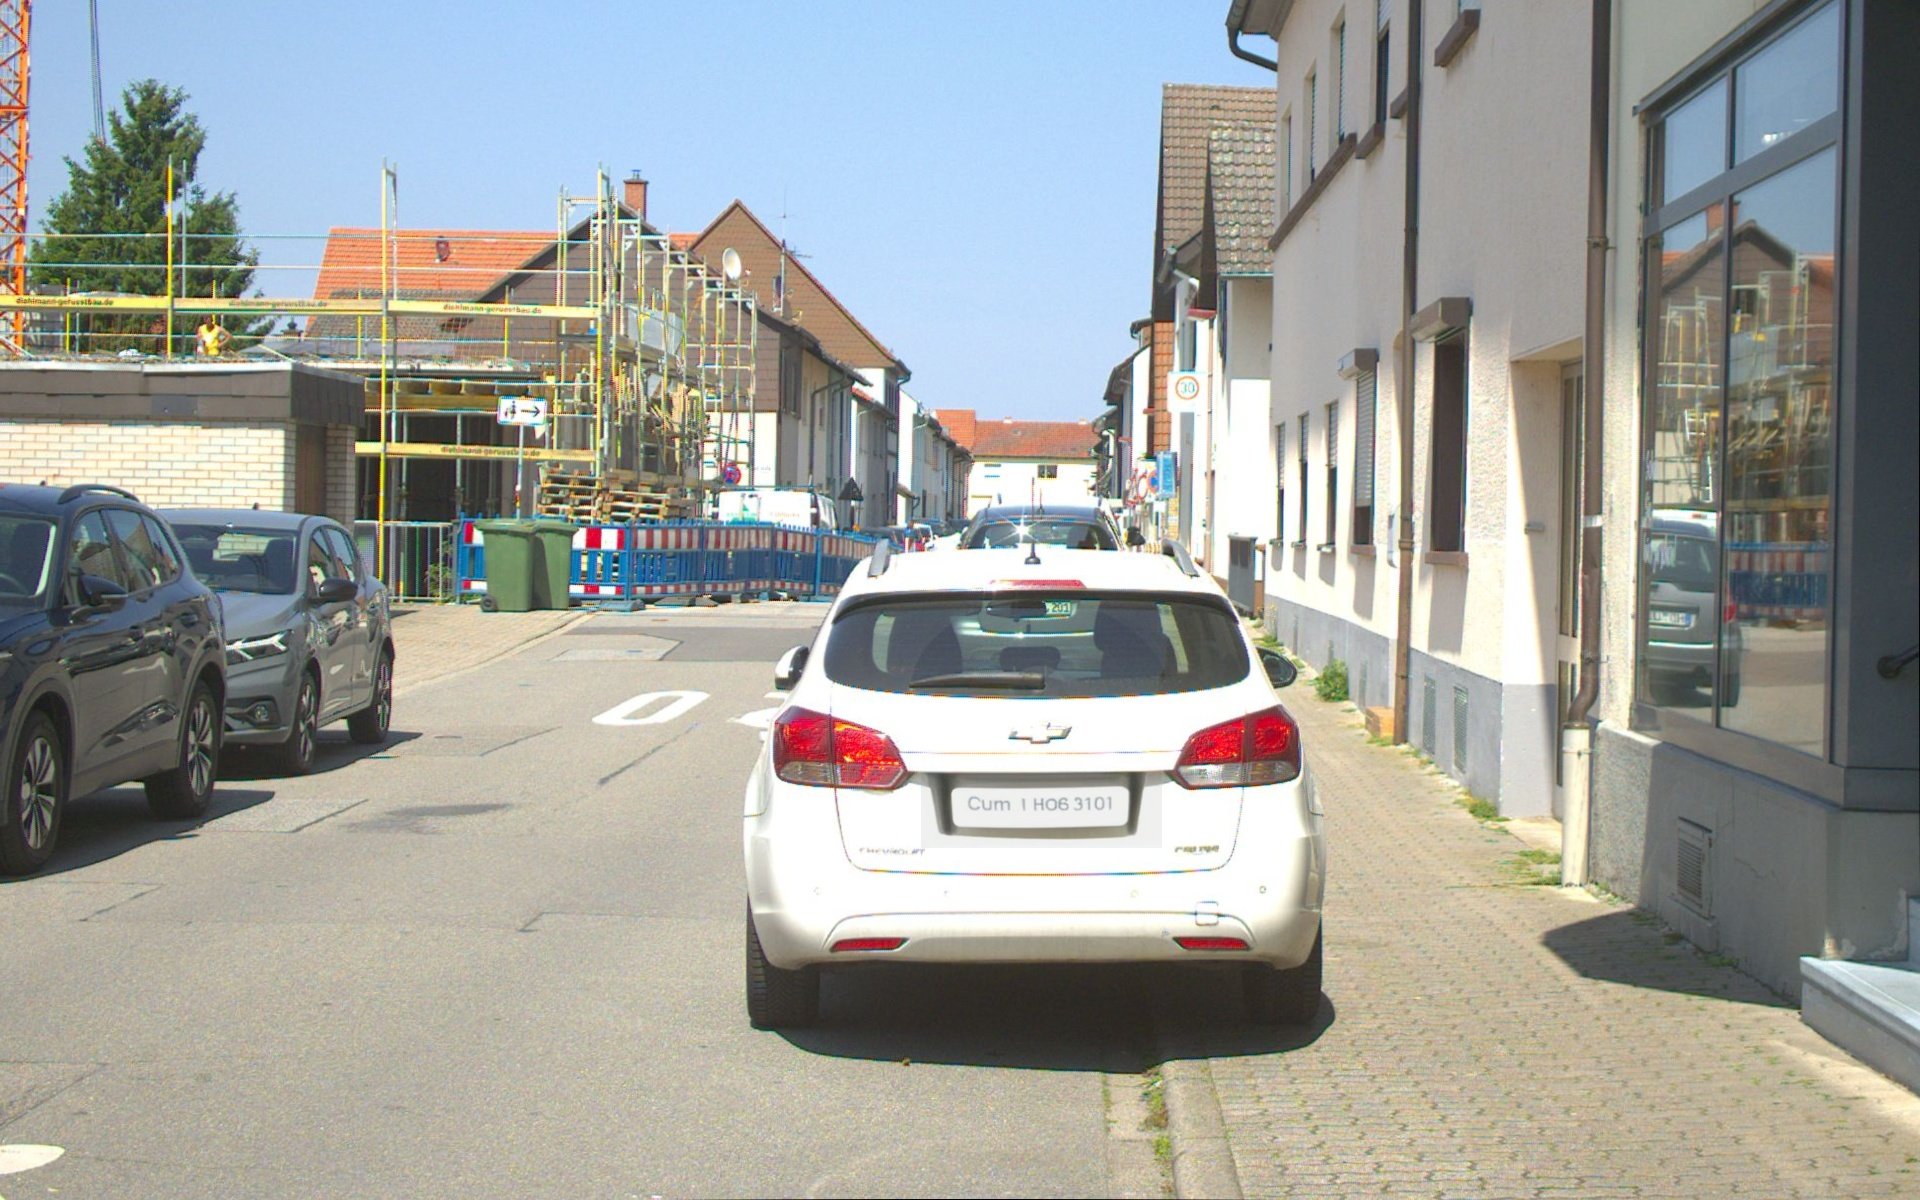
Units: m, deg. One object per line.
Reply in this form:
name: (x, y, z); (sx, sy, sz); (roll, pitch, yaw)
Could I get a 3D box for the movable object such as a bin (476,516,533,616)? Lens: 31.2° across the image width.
movable object such as a bin: (-5.335, -0.405, 40.301); (0.621, 1.151, 0.677); (1, 2, -5)

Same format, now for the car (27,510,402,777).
car: (-4.455, 0.210, 21.025); (1.436, 1.469, 3.786); (1, 1, 0)

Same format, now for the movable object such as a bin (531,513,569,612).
movable object such as a bin: (-4.863, -0.446, 40.765); (0.431, 1.151, 0.364); (1, 1, -8)

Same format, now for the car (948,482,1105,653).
car: (0.722, -0.389, 36.747); (1.564, 1.607, 3.543); (1, 4, 1)

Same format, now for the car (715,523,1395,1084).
car: (0.161, 0.529, 11.773); (1.886, 1.536, 4.243); (1, 1, -3)

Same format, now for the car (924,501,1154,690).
car: (0.661, -0.094, 31.571); (1.884, 1.550, 3.895); (-2, 2, -1)

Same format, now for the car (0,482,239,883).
car: (-4.719, 0.279, 15.617); (1.826, 1.625, 4.217); (1, 1, 2)
